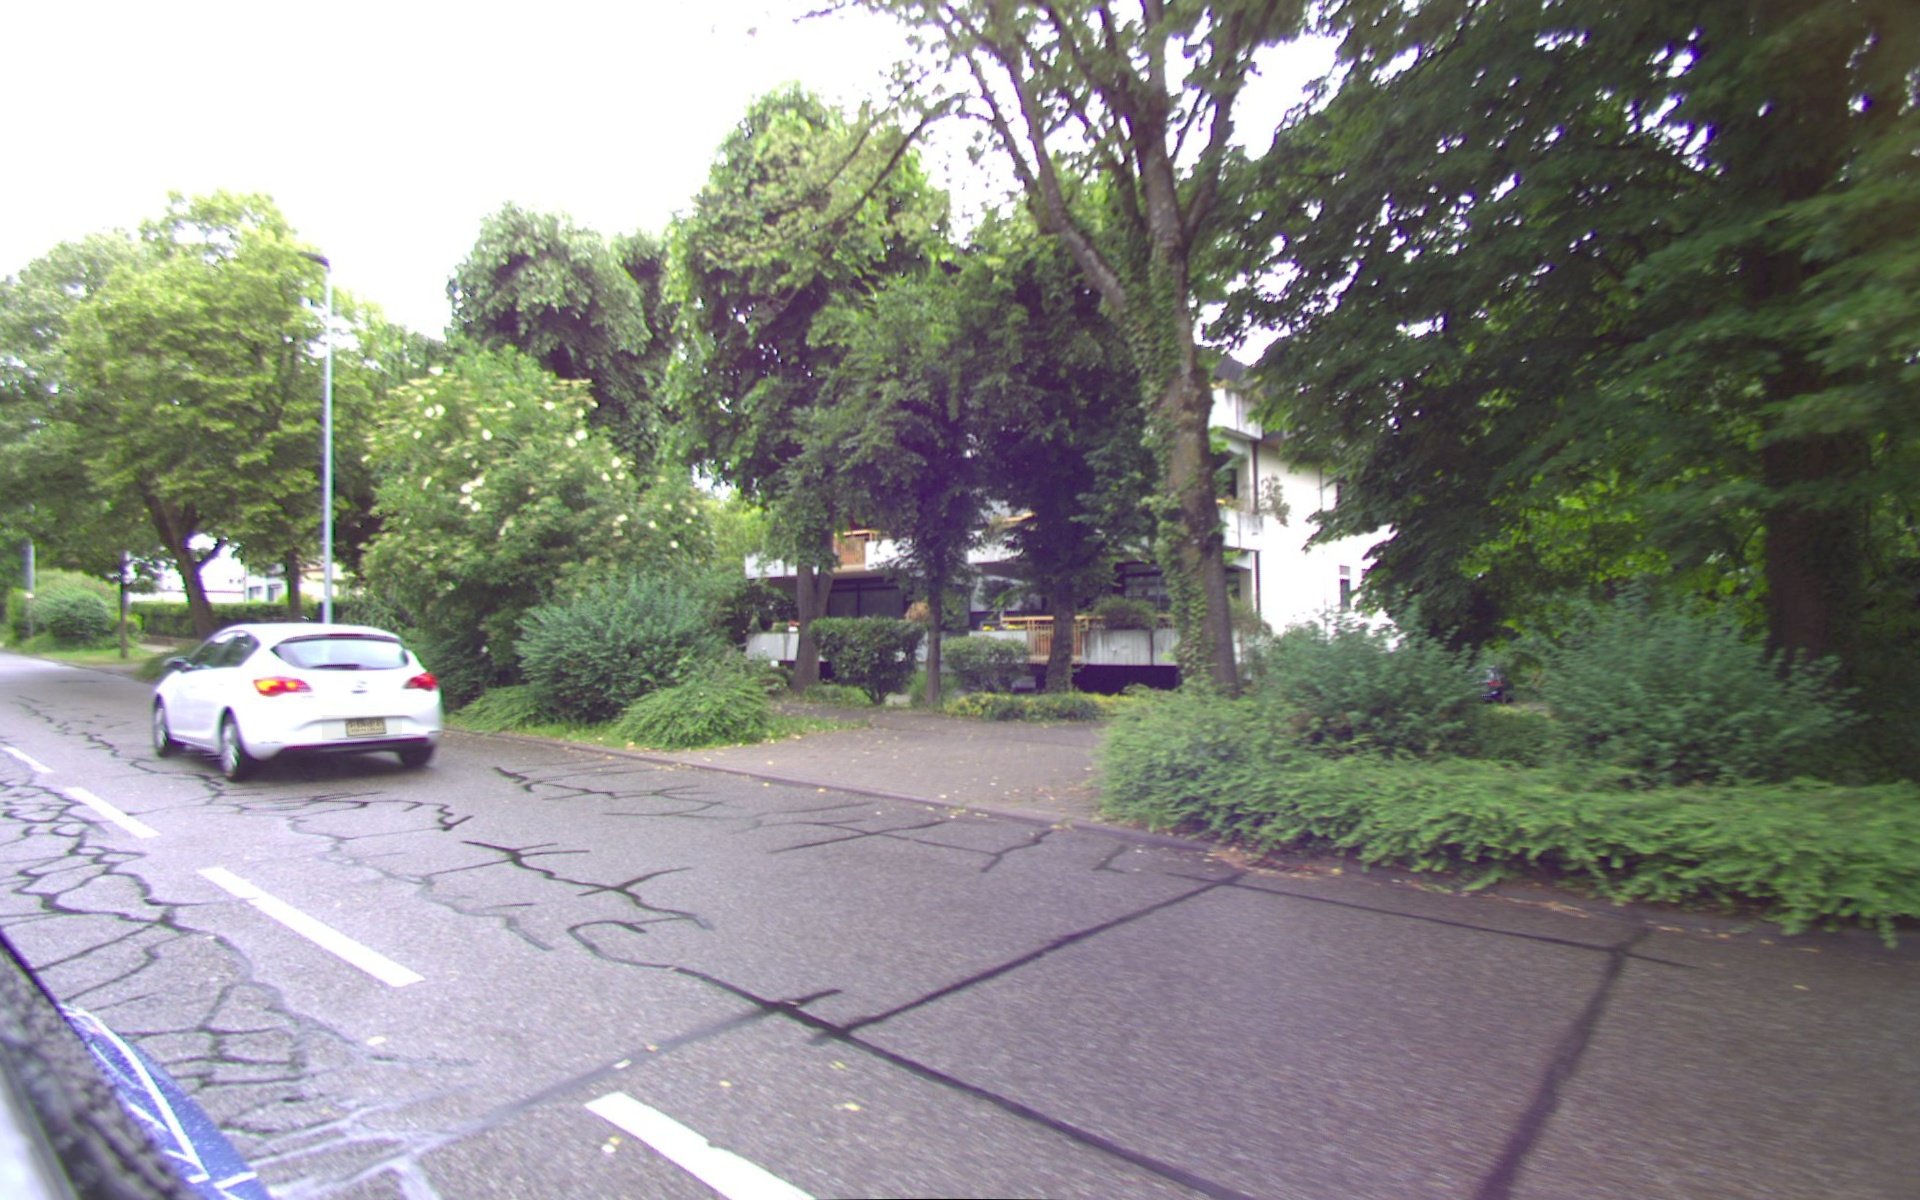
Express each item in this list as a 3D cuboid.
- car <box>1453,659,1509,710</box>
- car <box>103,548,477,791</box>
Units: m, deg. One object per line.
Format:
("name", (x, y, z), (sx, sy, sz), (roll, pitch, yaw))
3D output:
("car", (21.731, 3.475, 42.139), (1.818, 1.730, 3.959), (-1, 0, 30))
("car", (-7.207, 0.658, 10.711), (4.568, 2.029, 1.974), (-1, -3, 39))
